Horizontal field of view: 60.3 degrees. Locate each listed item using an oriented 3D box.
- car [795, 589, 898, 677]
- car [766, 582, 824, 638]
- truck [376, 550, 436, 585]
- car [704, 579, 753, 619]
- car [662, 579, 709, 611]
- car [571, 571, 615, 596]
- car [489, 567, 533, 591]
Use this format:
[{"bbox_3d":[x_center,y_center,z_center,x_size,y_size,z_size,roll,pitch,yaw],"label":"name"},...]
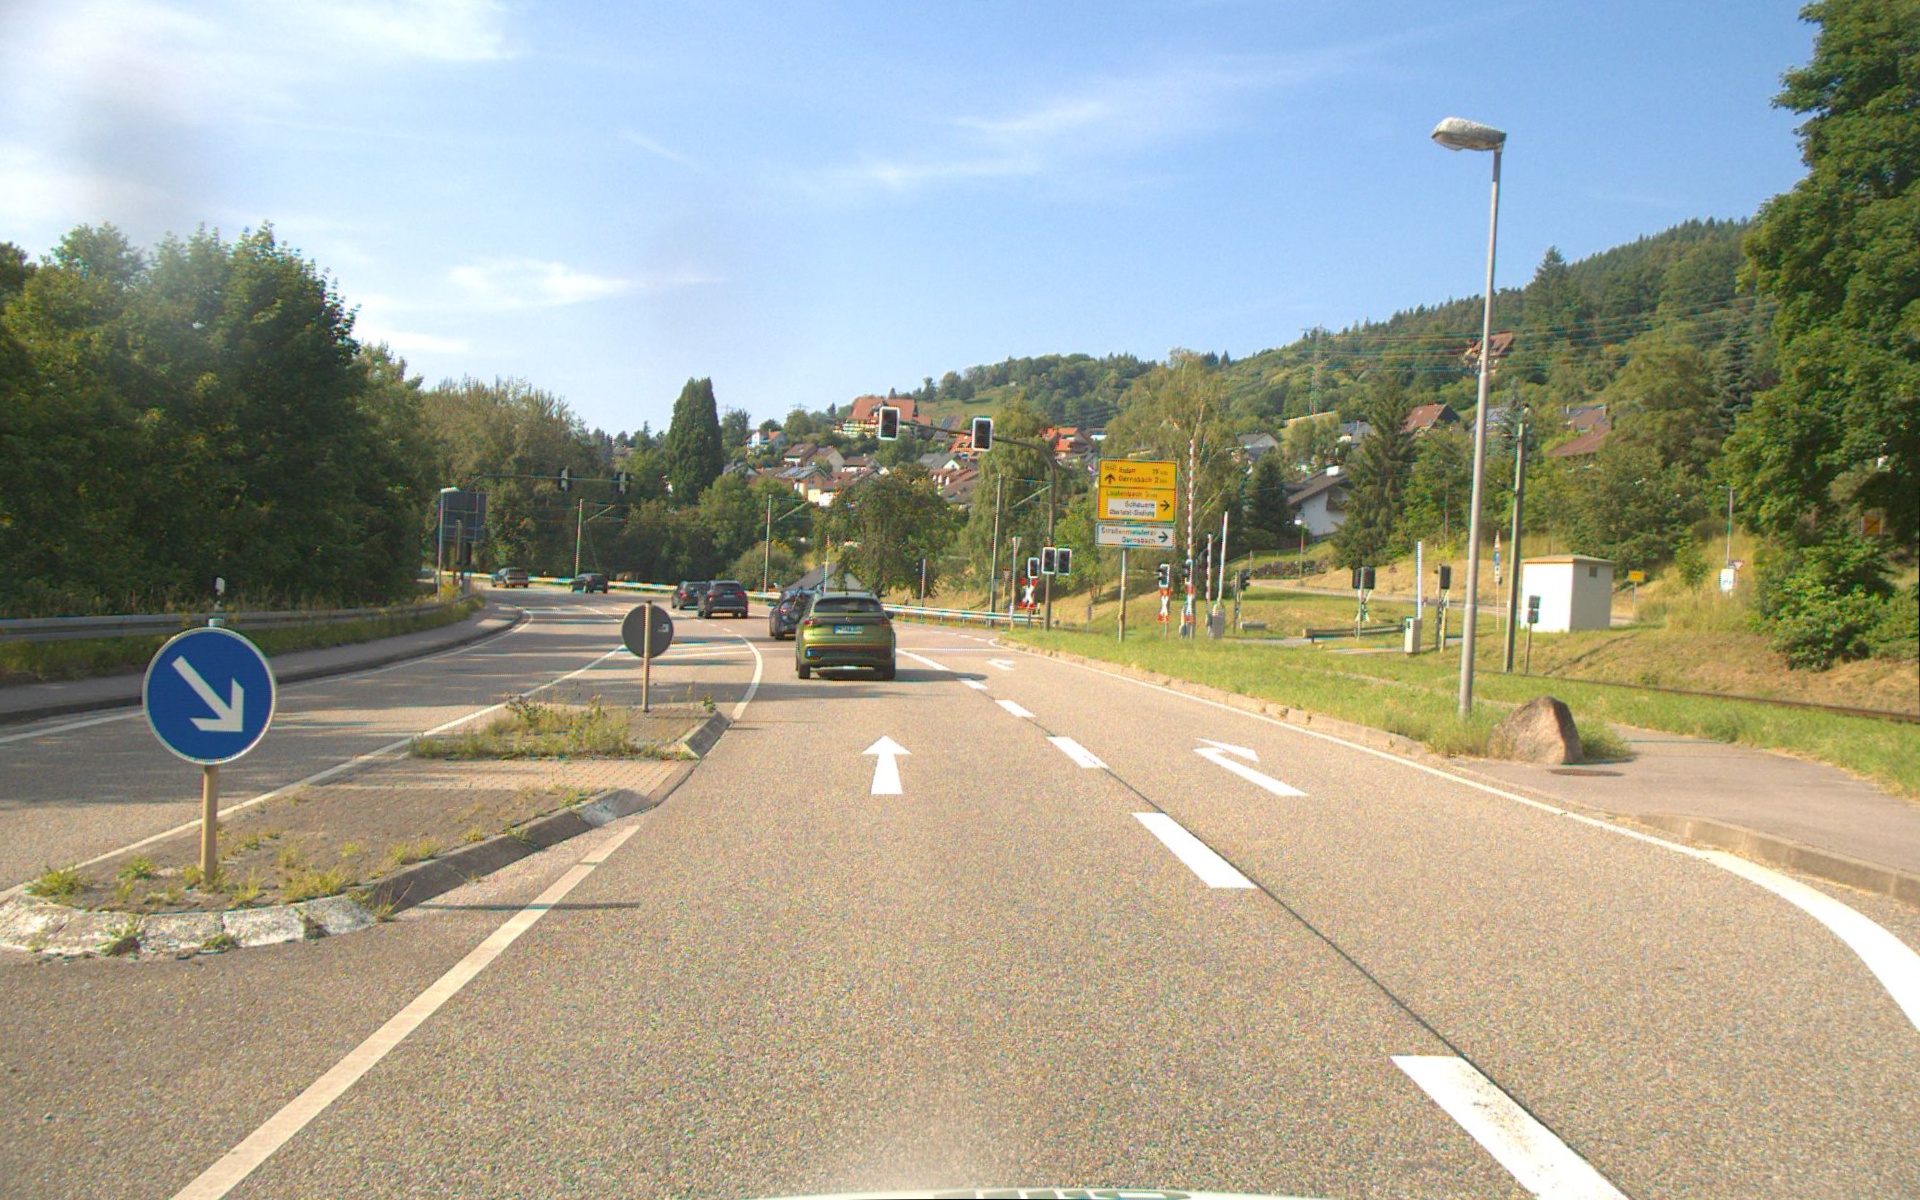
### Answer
[{"bbox_3d":[-2.105,0.542,29.815,1.682,1.480,3.994,0,0,-7],"label":"car"},{"bbox_3d":[-4.935,0.281,49.367,1.635,1.586,3.995,1,0,-6],"label":"car"},{"bbox_3d":[-52.442,-3.101,156.528,5.996,3.137,2.706,2,1,40],"label":"truck"},{"bbox_3d":[-10.355,-0.061,73.845,1.847,1.716,3.987,1,0,-13],"label":"car"},{"bbox_3d":[-14.454,-0.260,86.878,1.821,1.553,3.642,2,1,-19],"label":"car"},{"bbox_3d":[-27.177,-1.247,122.378,1.975,1.775,3.955,2,0,-33],"label":"car"},{"bbox_3d":[-36.412,-1.694,134.084,2.048,1.842,3.948,0,1,-37],"label":"car"}]
